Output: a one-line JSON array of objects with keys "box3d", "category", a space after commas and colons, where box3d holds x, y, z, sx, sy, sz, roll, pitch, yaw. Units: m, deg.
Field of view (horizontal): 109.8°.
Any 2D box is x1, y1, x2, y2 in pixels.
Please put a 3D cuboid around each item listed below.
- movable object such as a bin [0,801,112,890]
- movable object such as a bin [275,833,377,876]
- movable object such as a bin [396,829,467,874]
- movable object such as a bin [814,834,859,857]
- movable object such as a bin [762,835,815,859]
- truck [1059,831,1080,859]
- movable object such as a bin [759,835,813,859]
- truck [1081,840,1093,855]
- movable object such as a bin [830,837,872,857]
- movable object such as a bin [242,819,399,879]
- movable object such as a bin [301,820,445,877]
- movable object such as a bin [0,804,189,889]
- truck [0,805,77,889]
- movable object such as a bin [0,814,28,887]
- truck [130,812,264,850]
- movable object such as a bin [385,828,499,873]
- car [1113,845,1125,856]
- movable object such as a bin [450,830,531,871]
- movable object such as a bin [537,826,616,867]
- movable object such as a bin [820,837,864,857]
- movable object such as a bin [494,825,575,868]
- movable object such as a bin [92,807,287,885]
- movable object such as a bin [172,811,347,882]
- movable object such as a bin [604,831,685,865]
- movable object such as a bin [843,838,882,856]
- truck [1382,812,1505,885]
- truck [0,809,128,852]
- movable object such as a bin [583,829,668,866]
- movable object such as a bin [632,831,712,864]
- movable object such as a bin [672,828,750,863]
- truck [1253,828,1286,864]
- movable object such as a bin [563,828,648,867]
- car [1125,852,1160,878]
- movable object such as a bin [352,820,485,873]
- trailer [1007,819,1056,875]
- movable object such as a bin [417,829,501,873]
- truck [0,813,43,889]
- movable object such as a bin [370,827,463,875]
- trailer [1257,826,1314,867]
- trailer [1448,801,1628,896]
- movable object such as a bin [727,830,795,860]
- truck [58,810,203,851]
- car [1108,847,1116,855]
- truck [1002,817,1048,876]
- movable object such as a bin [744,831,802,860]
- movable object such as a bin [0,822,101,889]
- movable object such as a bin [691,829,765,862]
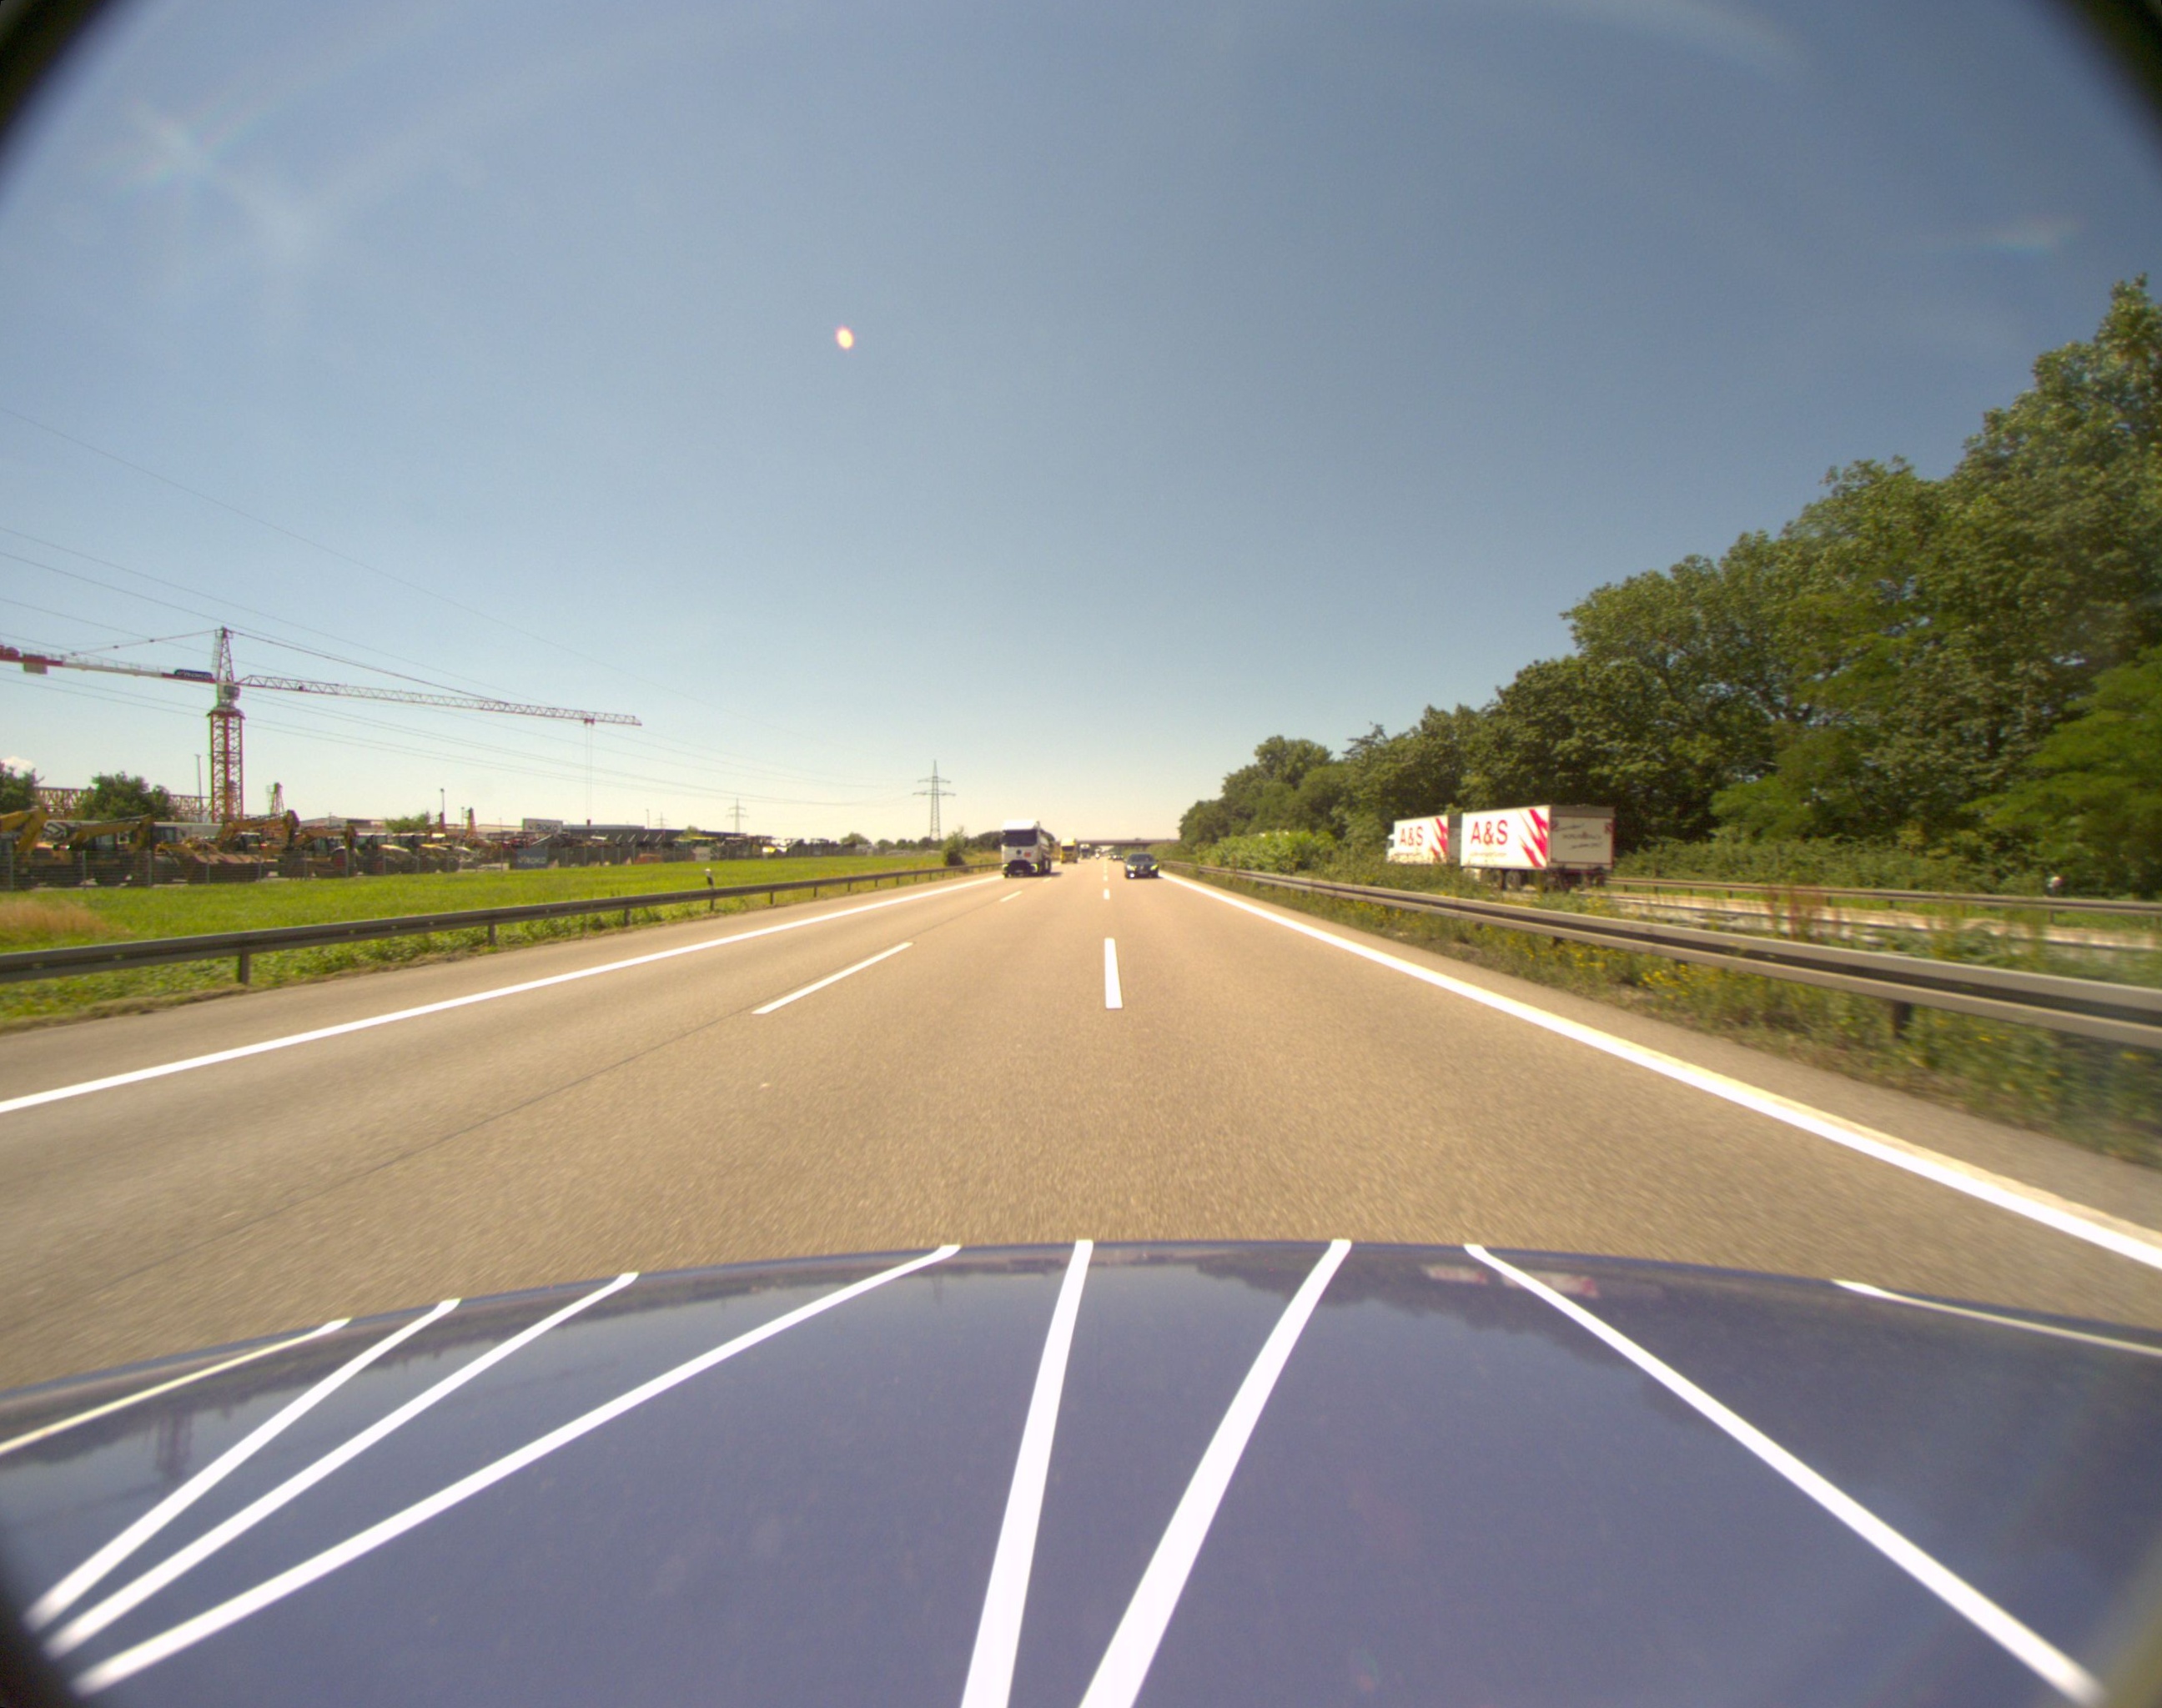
[{"box3d": [-54.891, -0.311, 38.482, 8.112, 4.272, 2.882, -2, 1, 3], "category": "movable object such as a bin"}, {"box3d": [-74.474, 0.045, 74.977, 8.476, 3.941, 3.296, -2, 1, 16], "category": "movable object such as a bin"}, {"box3d": [-73.590, -0.284, 86.094, 7.142, 4.716, 2.718, -2, 1, 19], "category": "movable object such as a bin"}, {"box3d": [-49.906, -1.719, 155.053, 8.112, 4.349, 2.882, -2, 1, 3], "category": "movable object such as a bin"}, {"box3d": [-51.717, -1.236, 134.458, 8.112, 3.883, 2.882, -2, 1, 3], "category": "movable object such as a bin"}, {"box3d": [-1.769, -1.484, 124.186, 2.977, 4.240, 12.611, 0, 1, 1], "category": "truck"}, {"box3d": [-50.729, -1.239, 130.883, 8.112, 3.883, 2.882, -2, 1, 3], "category": "movable object such as a bin"}, {"box3d": [1.763, -1.900, 213.579, 2.977, 4.240, 12.611, 0, 1, 1], "category": "truck"}, {"box3d": [-50.219, -1.575, 165.768, 8.112, 3.916, 2.882, -2, 1, 3], "category": "movable object such as a bin"}, {"box3d": [-54.216, -0.355, 54.308, 8.112, 3.928, 3.137, -2, 1, 3], "category": "movable object such as a bin"}, {"box3d": [-54.062, -0.398, 58.136, 8.112, 3.928, 3.137, -2, 1, 3], "category": "movable object such as a bin"}, {"box3d": [-54.853, -0.401, 41.883, 8.112, 4.272, 2.882, -2, 1, 3], "category": "movable object such as a bin"}, {"box3d": [-62.517, -0.316, 43.033, 3.051, 4.745, 5.983, -2, 1, 3], "category": "truck"}, {"box3d": [-54.834, 0.008, 35.286, 8.112, 3.443, 2.882, -2, 1, 3], "category": "movable object such as a bin"}, {"box3d": [-82.614, -2.122, 71.168, 8.175, 3.392, 2.834, 1, 1, -11], "category": "truck"}, {"box3d": [-60.618, -0.356, 72.210, 8.112, 3.928, 3.137, -2, 1, 3], "category": "movable object such as a bin"}, {"box3d": [6.527, -0.617, 130.012, 1.861, 1.696, 4.000, 0, 1, 1], "category": "car"}, {"box3d": [-72.219, -0.402, 92.951, 9.584, 4.716, 3.143, -2, 1, 21], "category": "movable object such as a bin"}, {"box3d": [-54.310, -0.772, 81.652, 9.361, 4.029, 3.443, -2, 1, 33], "category": "movable object such as a bin"}, {"box3d": [-49.802, -1.524, 158.723, 8.112, 3.916, 2.882, -2, 1, 3], "category": "movable object such as a bin"}, {"box3d": [-56.435, -0.714, 78.418, 9.361, 4.029, 3.443, -2, 1, 33], "category": "movable object such as a bin"}, {"box3d": [-54.320, -0.465, 46.462, 8.112, 4.272, 3.351, -2, 1, 3], "category": "movable object such as a bin"}, {"box3d": [-54.329, -0.503, 50.403, 8.112, 4.272, 3.299, -2, 1, 3], "category": "movable object such as a bin"}, {"box3d": [-56.372, -0.797, 98.177, 9.368, 4.029, 3.440, -2, 1, 16], "category": "movable object such as a bin"}, {"box3d": [-50.624, -1.660, 176.198, 8.112, 3.916, 2.882, -2, 1, 3], "category": "movable object such as a bin"}, {"box3d": [20.851, -0.350, 44.492, 2.933, 3.806, 9.275, 0, 1, 2], "category": "truck"}, {"box3d": [-85.815, -1.927, 63.452, 8.172, 3.392, 2.835, 1, 1, -6], "category": "truck"}, {"box3d": [-54.622, -0.751, 91.097, 9.366, 4.029, 3.441, -2, 1, 20], "category": "movable object such as a bin"}, {"box3d": [-55.077, -0.866, 102.382, 9.370, 4.029, 3.439, -2, 1, 13], "category": "movable object such as a bin"}, {"box3d": [-52.858, -1.235, 108.661, 9.377, 4.486, 3.437, -2, 1, 3], "category": "movable object such as a bin"}, {"box3d": [22.065, -0.935, 89.167, 2.490, 4.067, 5.861, 1, 1, 1], "category": "truck"}, {"box3d": [-54.048, -0.729, 86.285, 9.364, 4.029, 3.441, -2, 1, 24], "category": "movable object such as a bin"}, {"box3d": [3.519, 0.613, 44.112, 1.807, 1.385, 4.000, -2, 1, 1], "category": "car"}, {"box3d": [-53.867, -0.614, 61.886, 8.112, 3.928, 3.137, -2, 1, 3], "category": "movable object such as a bin"}, {"box3d": [-3.719, -0.598, 60.165, 2.573, 3.871, 13.279, -2, 1, 1], "category": "trailer"}, {"box3d": [-73.425, -0.324, 89.625, 9.584, 4.716, 3.143, -2, 1, 21], "category": "movable object such as a bin"}, {"box3d": [-68.581, -0.114, 45.928, 3.051, 4.745, 5.983, -2, 1, 3], "category": "truck"}, {"box3d": [-71.741, -0.347, 82.064, 8.476, 4.777, 3.296, -2, 1, 16], "category": "movable object such as a bin"}, {"box3d": [21.900, -0.799, 82.362, 2.543, 4.067, 14.245, 1, 1, 1], "category": "trailer"}, {"box3d": [20.618, -0.252, 35.181, 2.933, 3.806, 9.275, 0, 1, 2], "category": "trailer"}, {"box3d": [-51.338, -1.420, 121.995, 9.377, 4.486, 3.437, -2, 1, 3], "category": "movable object such as a bin"}, {"box3d": [-84.175, -2.027, 67.462, 8.174, 3.392, 2.834, 1, 1, -10], "category": "truck"}, {"box3d": [6.729, -0.757, 165.239, 1.861, 1.696, 4.000, 0, 1, 1], "category": "car"}, {"box3d": [-3.882, -0.530, 53.682, 2.573, 3.871, 5.723, -2, 1, 1], "category": "truck"}, {"box3d": [-51.091, -1.469, 126.154, 8.112, 4.486, 3.351, -2, 1, 3], "category": "movable object such as a bin"}, {"box3d": [-78.305, 0.192, 56.267, 8.825, 4.623, 3.295, -2, 1, 12], "category": "movable object such as a bin"}, {"box3d": [-52.903, -1.285, 114.118, 9.377, 4.486, 3.437, -2, 1, 3], "category": "movable object such as a bin"}]
